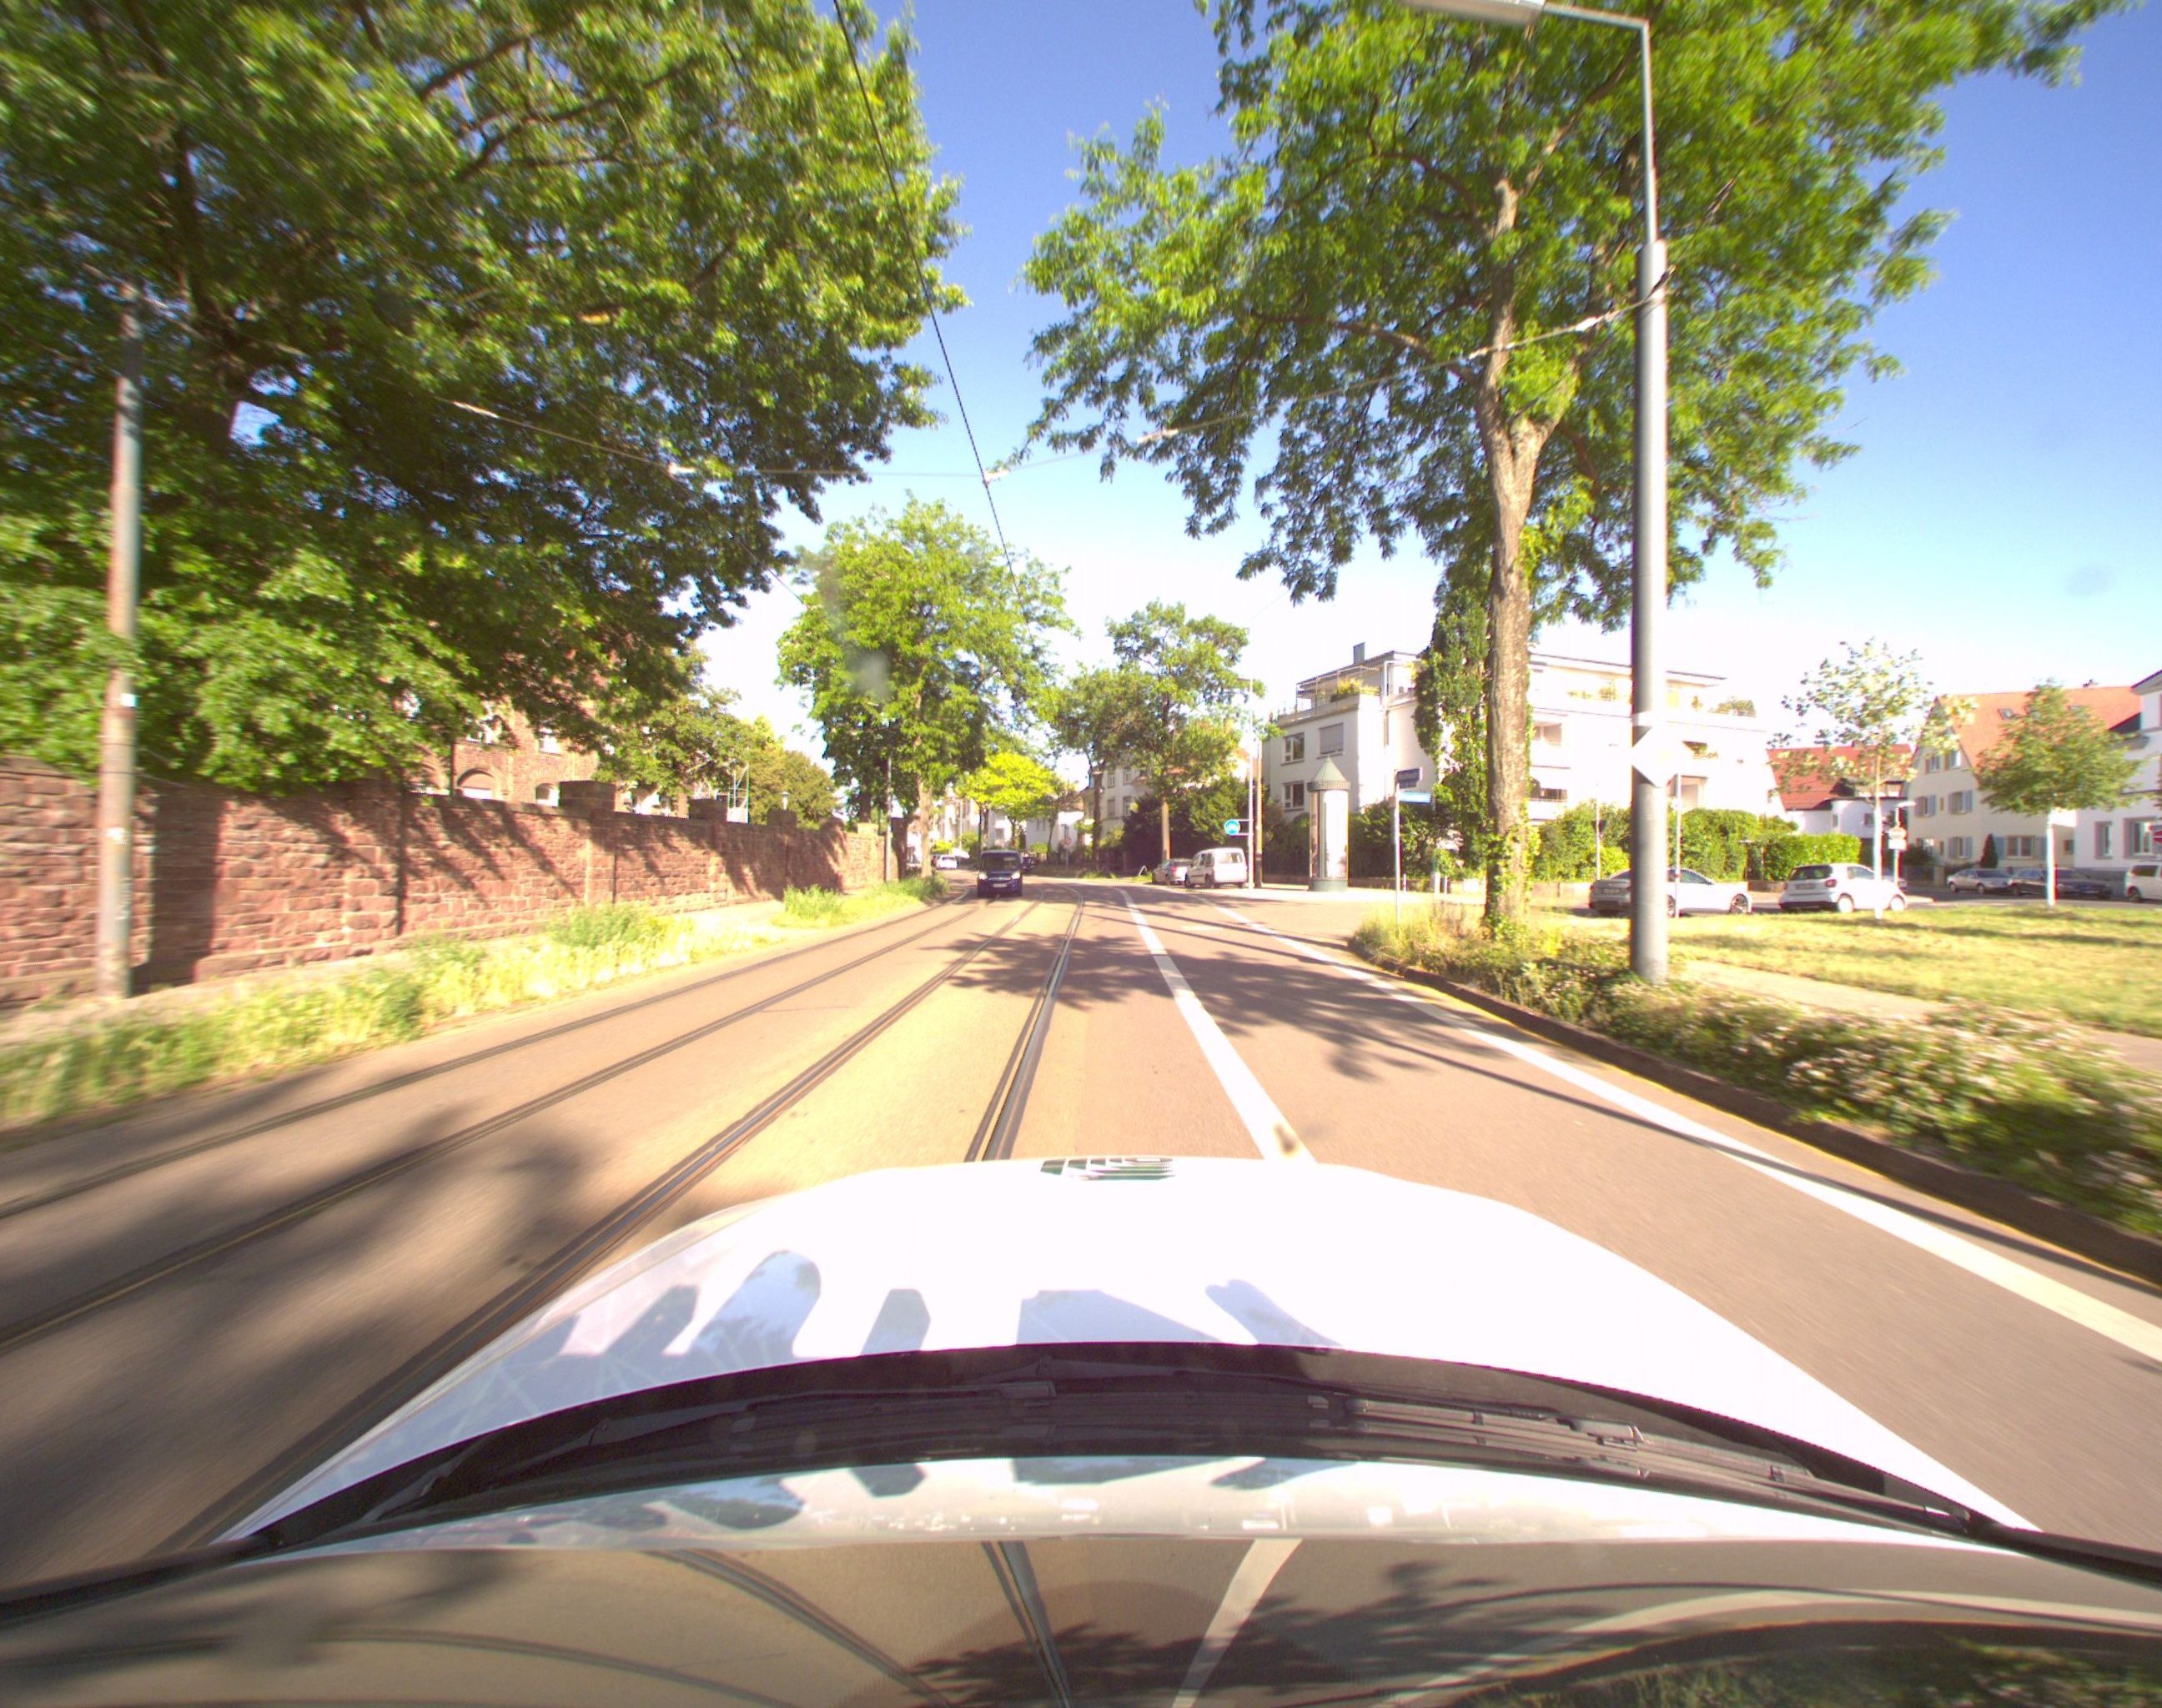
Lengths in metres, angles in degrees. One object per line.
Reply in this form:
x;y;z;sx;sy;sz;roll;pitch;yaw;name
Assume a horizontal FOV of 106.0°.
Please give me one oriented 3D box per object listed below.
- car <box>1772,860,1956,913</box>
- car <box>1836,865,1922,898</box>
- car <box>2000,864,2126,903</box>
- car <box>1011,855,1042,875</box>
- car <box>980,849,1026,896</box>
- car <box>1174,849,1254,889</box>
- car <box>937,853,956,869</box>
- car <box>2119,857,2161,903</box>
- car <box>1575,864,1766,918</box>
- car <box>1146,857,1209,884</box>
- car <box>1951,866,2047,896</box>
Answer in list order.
23.456;0.981;24.450;4.282;1.511;1.833;0;-3;-11;car
43.875;1.461;44.886;2.027;1.708;4.312;0;-1;24;car
47.610;1.369;39.643;1.976;1.785;4.627;0;-1;23;car
-5.119;1.004;76.157;1.809;1.694;4.700;-3;1;-18;car
-3.060;0.699;32.719;1.629;1.792;4.333;0;0;-3;car
6.115;0.642;38.104;2.025;1.747;4.729;0;0;-14;car
-14.807;0.814;89.403;1.893;1.611;4.212;0;-2;-11;car
44.191;1.046;32.251;1.975;1.842;4.583;0;-1;26;car
16.268;0.989;22.520;4.521;1.369;1.957;0;-1;-17;car
5.147;0.876;44.010;1.997;1.423;4.310;0;-1;-15;car
50.077;1.416;44.536;1.976;1.520;4.022;0;0;23;car
